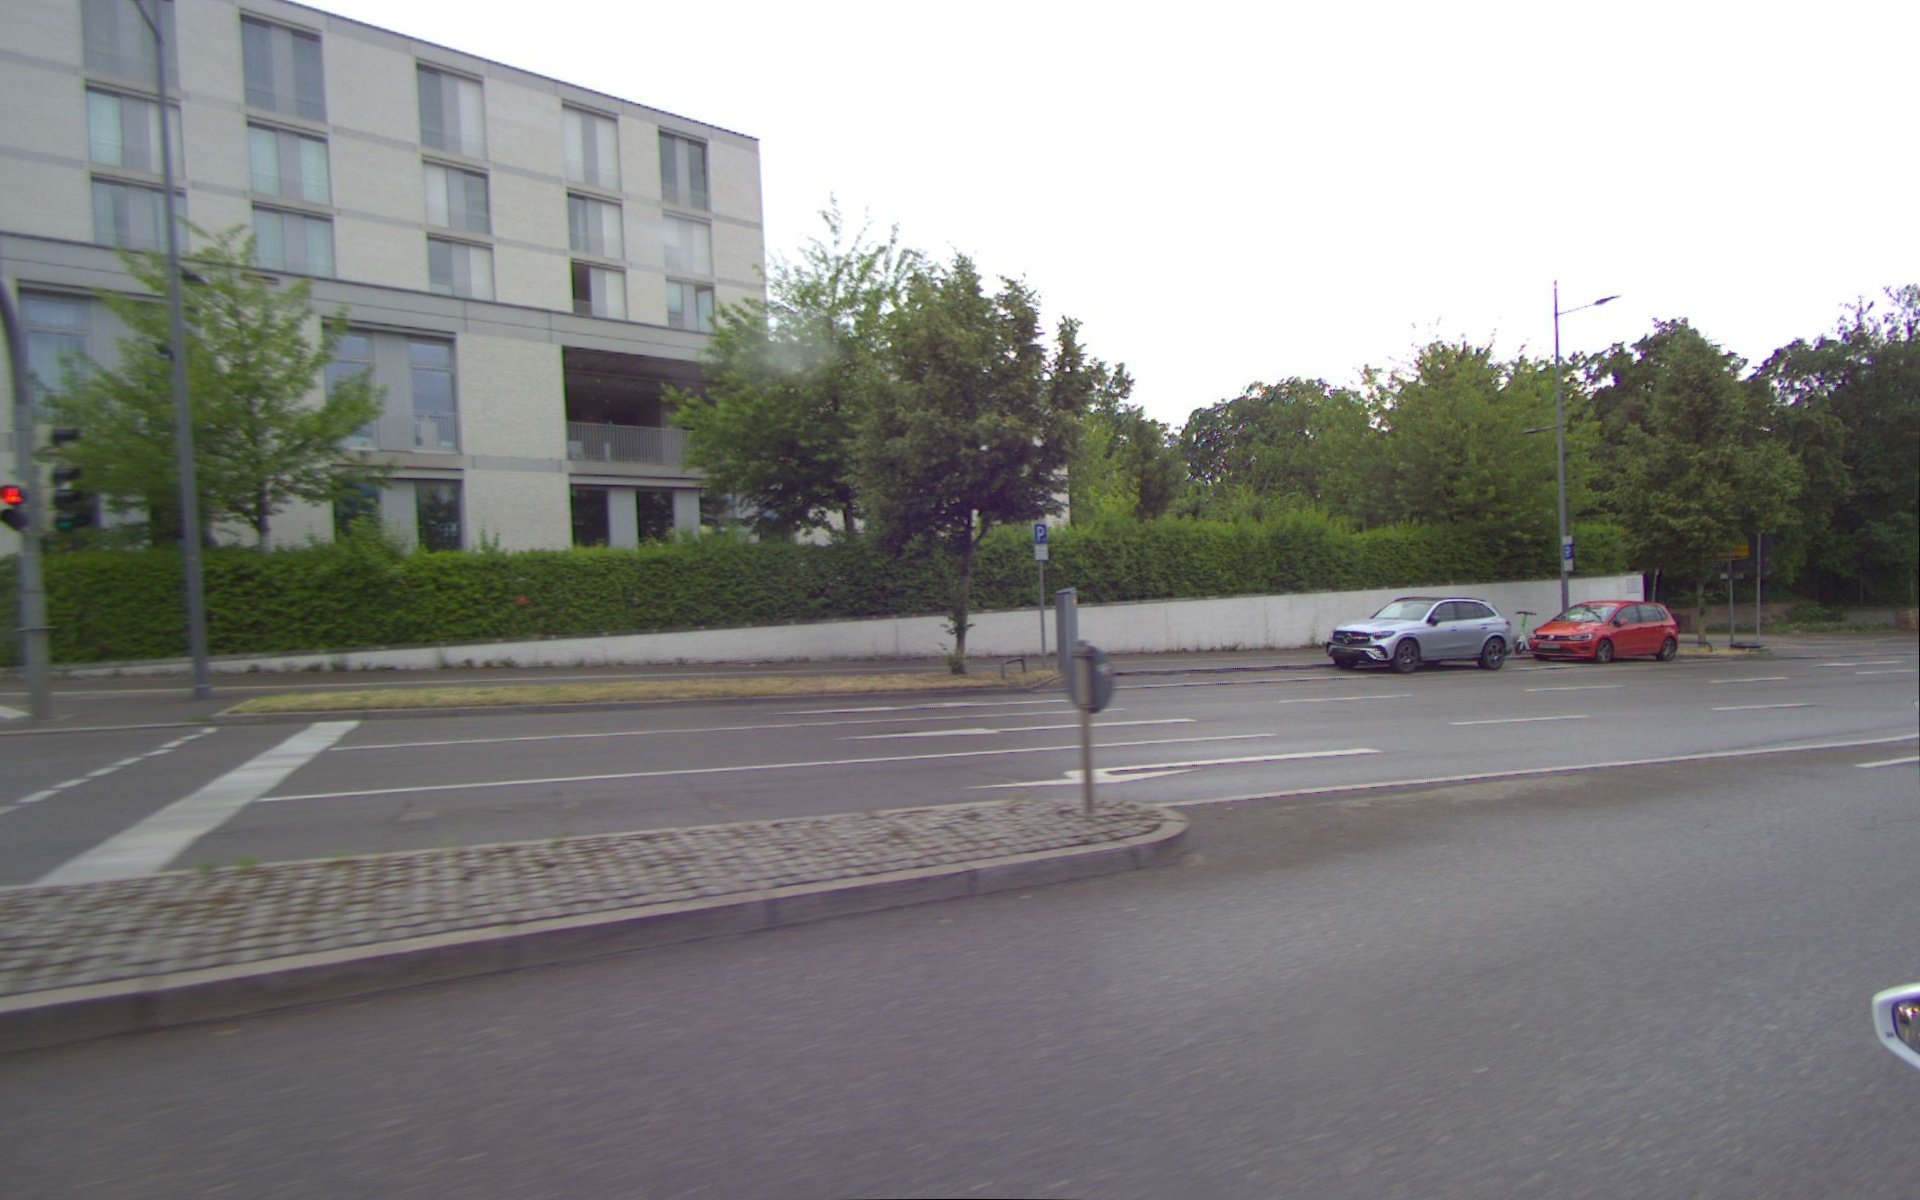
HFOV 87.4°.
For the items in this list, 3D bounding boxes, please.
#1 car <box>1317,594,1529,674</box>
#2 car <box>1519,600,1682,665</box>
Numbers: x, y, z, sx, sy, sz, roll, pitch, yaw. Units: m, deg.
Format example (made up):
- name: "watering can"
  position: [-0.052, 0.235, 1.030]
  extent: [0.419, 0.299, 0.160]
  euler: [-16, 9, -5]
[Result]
- name: "car"
  position: [10.756, 0.749, 23.274]
  extent: [4.818, 1.675, 1.758]
  euler: [1, 2, -26]
- name: "car"
  position: [16.779, 0.817, 26.298]
  extent: [4.160, 1.608, 1.660]
  euler: [1, 0, -25]
